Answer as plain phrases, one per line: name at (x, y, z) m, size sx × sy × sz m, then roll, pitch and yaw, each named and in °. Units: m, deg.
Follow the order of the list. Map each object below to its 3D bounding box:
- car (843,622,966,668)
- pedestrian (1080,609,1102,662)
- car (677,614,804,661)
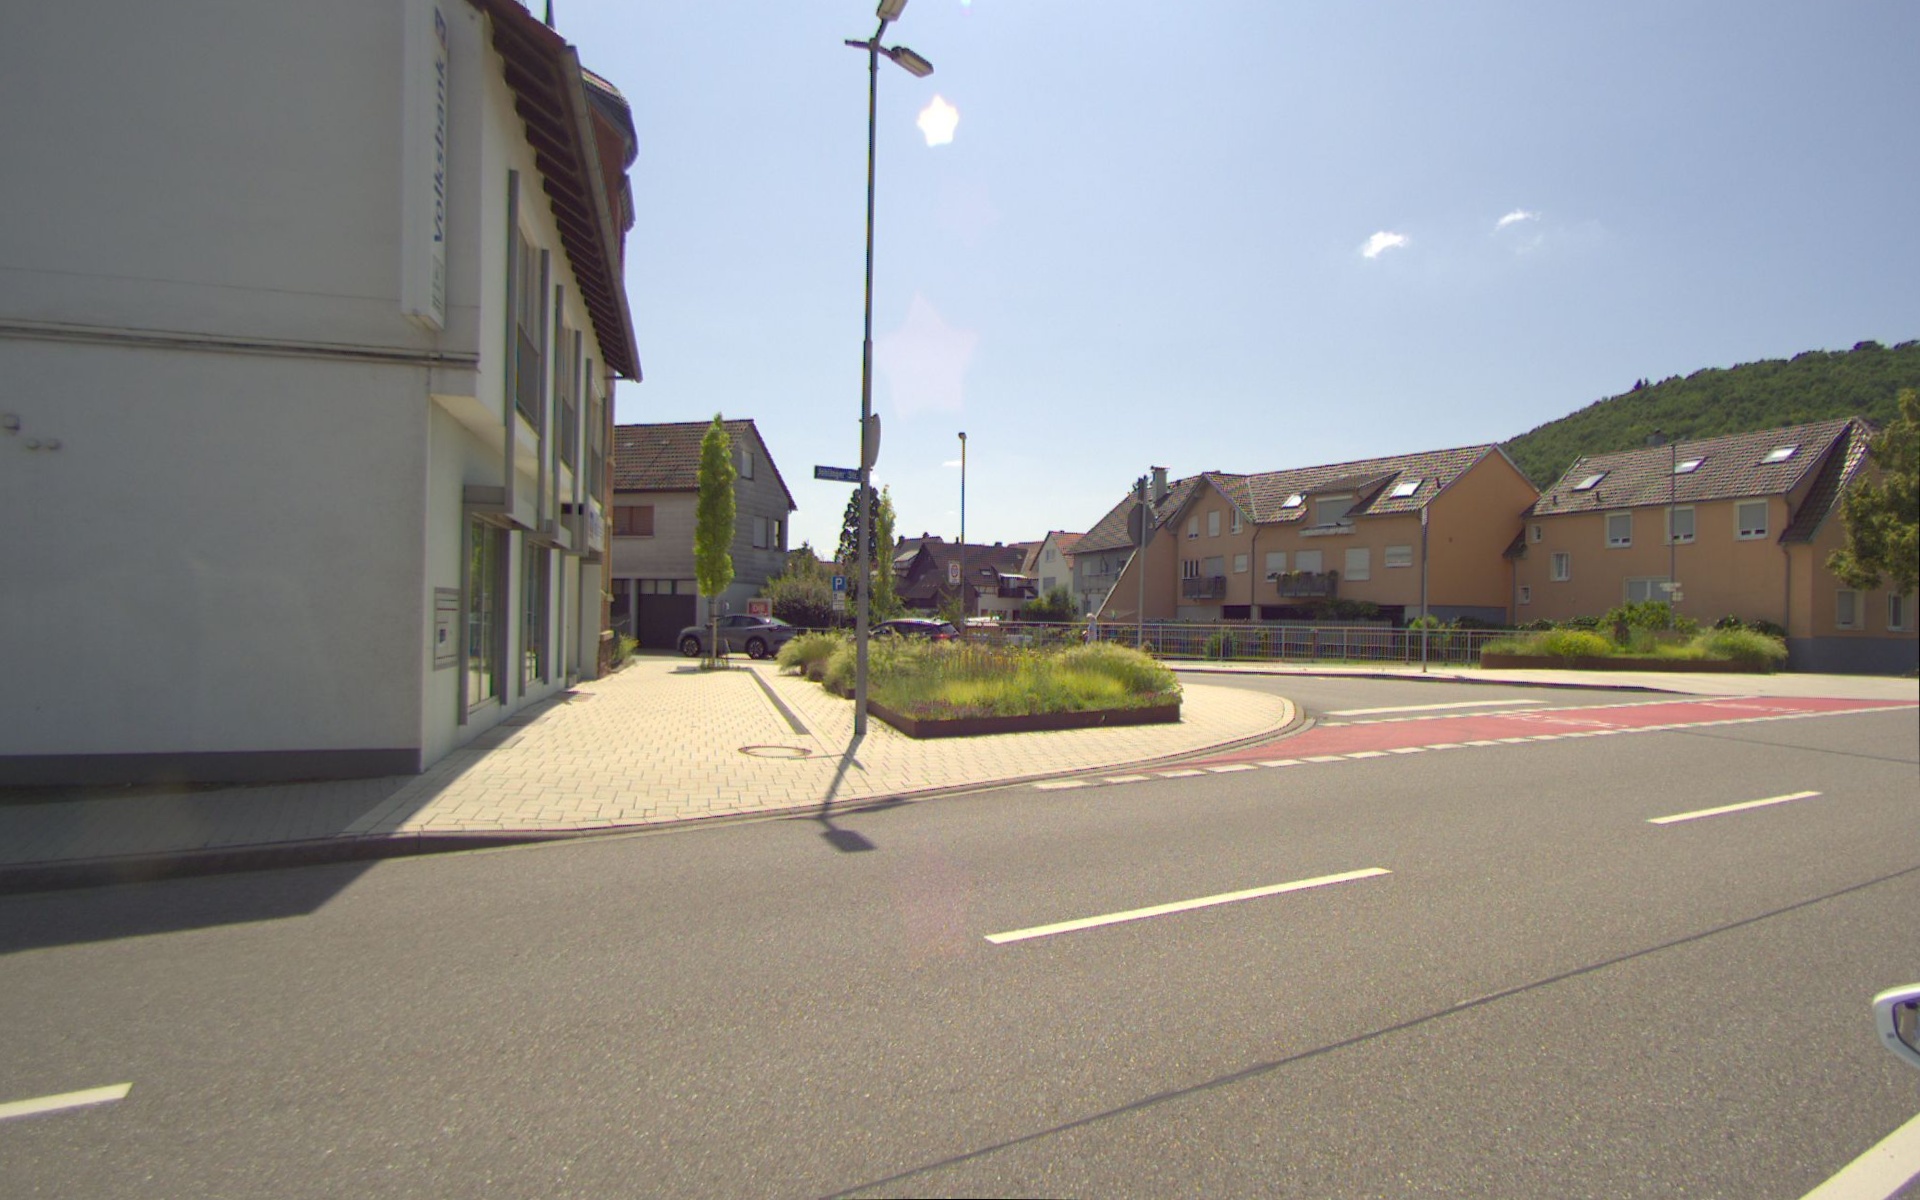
car at (-1.934, 1.555, 35.361) m, size 3.921 × 1.483 × 1.861 m, roll 0°, pitch -1°, yaw 20°
pedestrian at (4.459, 1.207, 34.300) m, size 0.603 × 1.772 × 0.506 m, roll 1°, pitch -1°, yaw 24°
car at (-7.991, 1.357, 36.657) m, size 4.149 × 1.567 × 1.789 m, roll 1°, pitch -2°, yaw 17°
